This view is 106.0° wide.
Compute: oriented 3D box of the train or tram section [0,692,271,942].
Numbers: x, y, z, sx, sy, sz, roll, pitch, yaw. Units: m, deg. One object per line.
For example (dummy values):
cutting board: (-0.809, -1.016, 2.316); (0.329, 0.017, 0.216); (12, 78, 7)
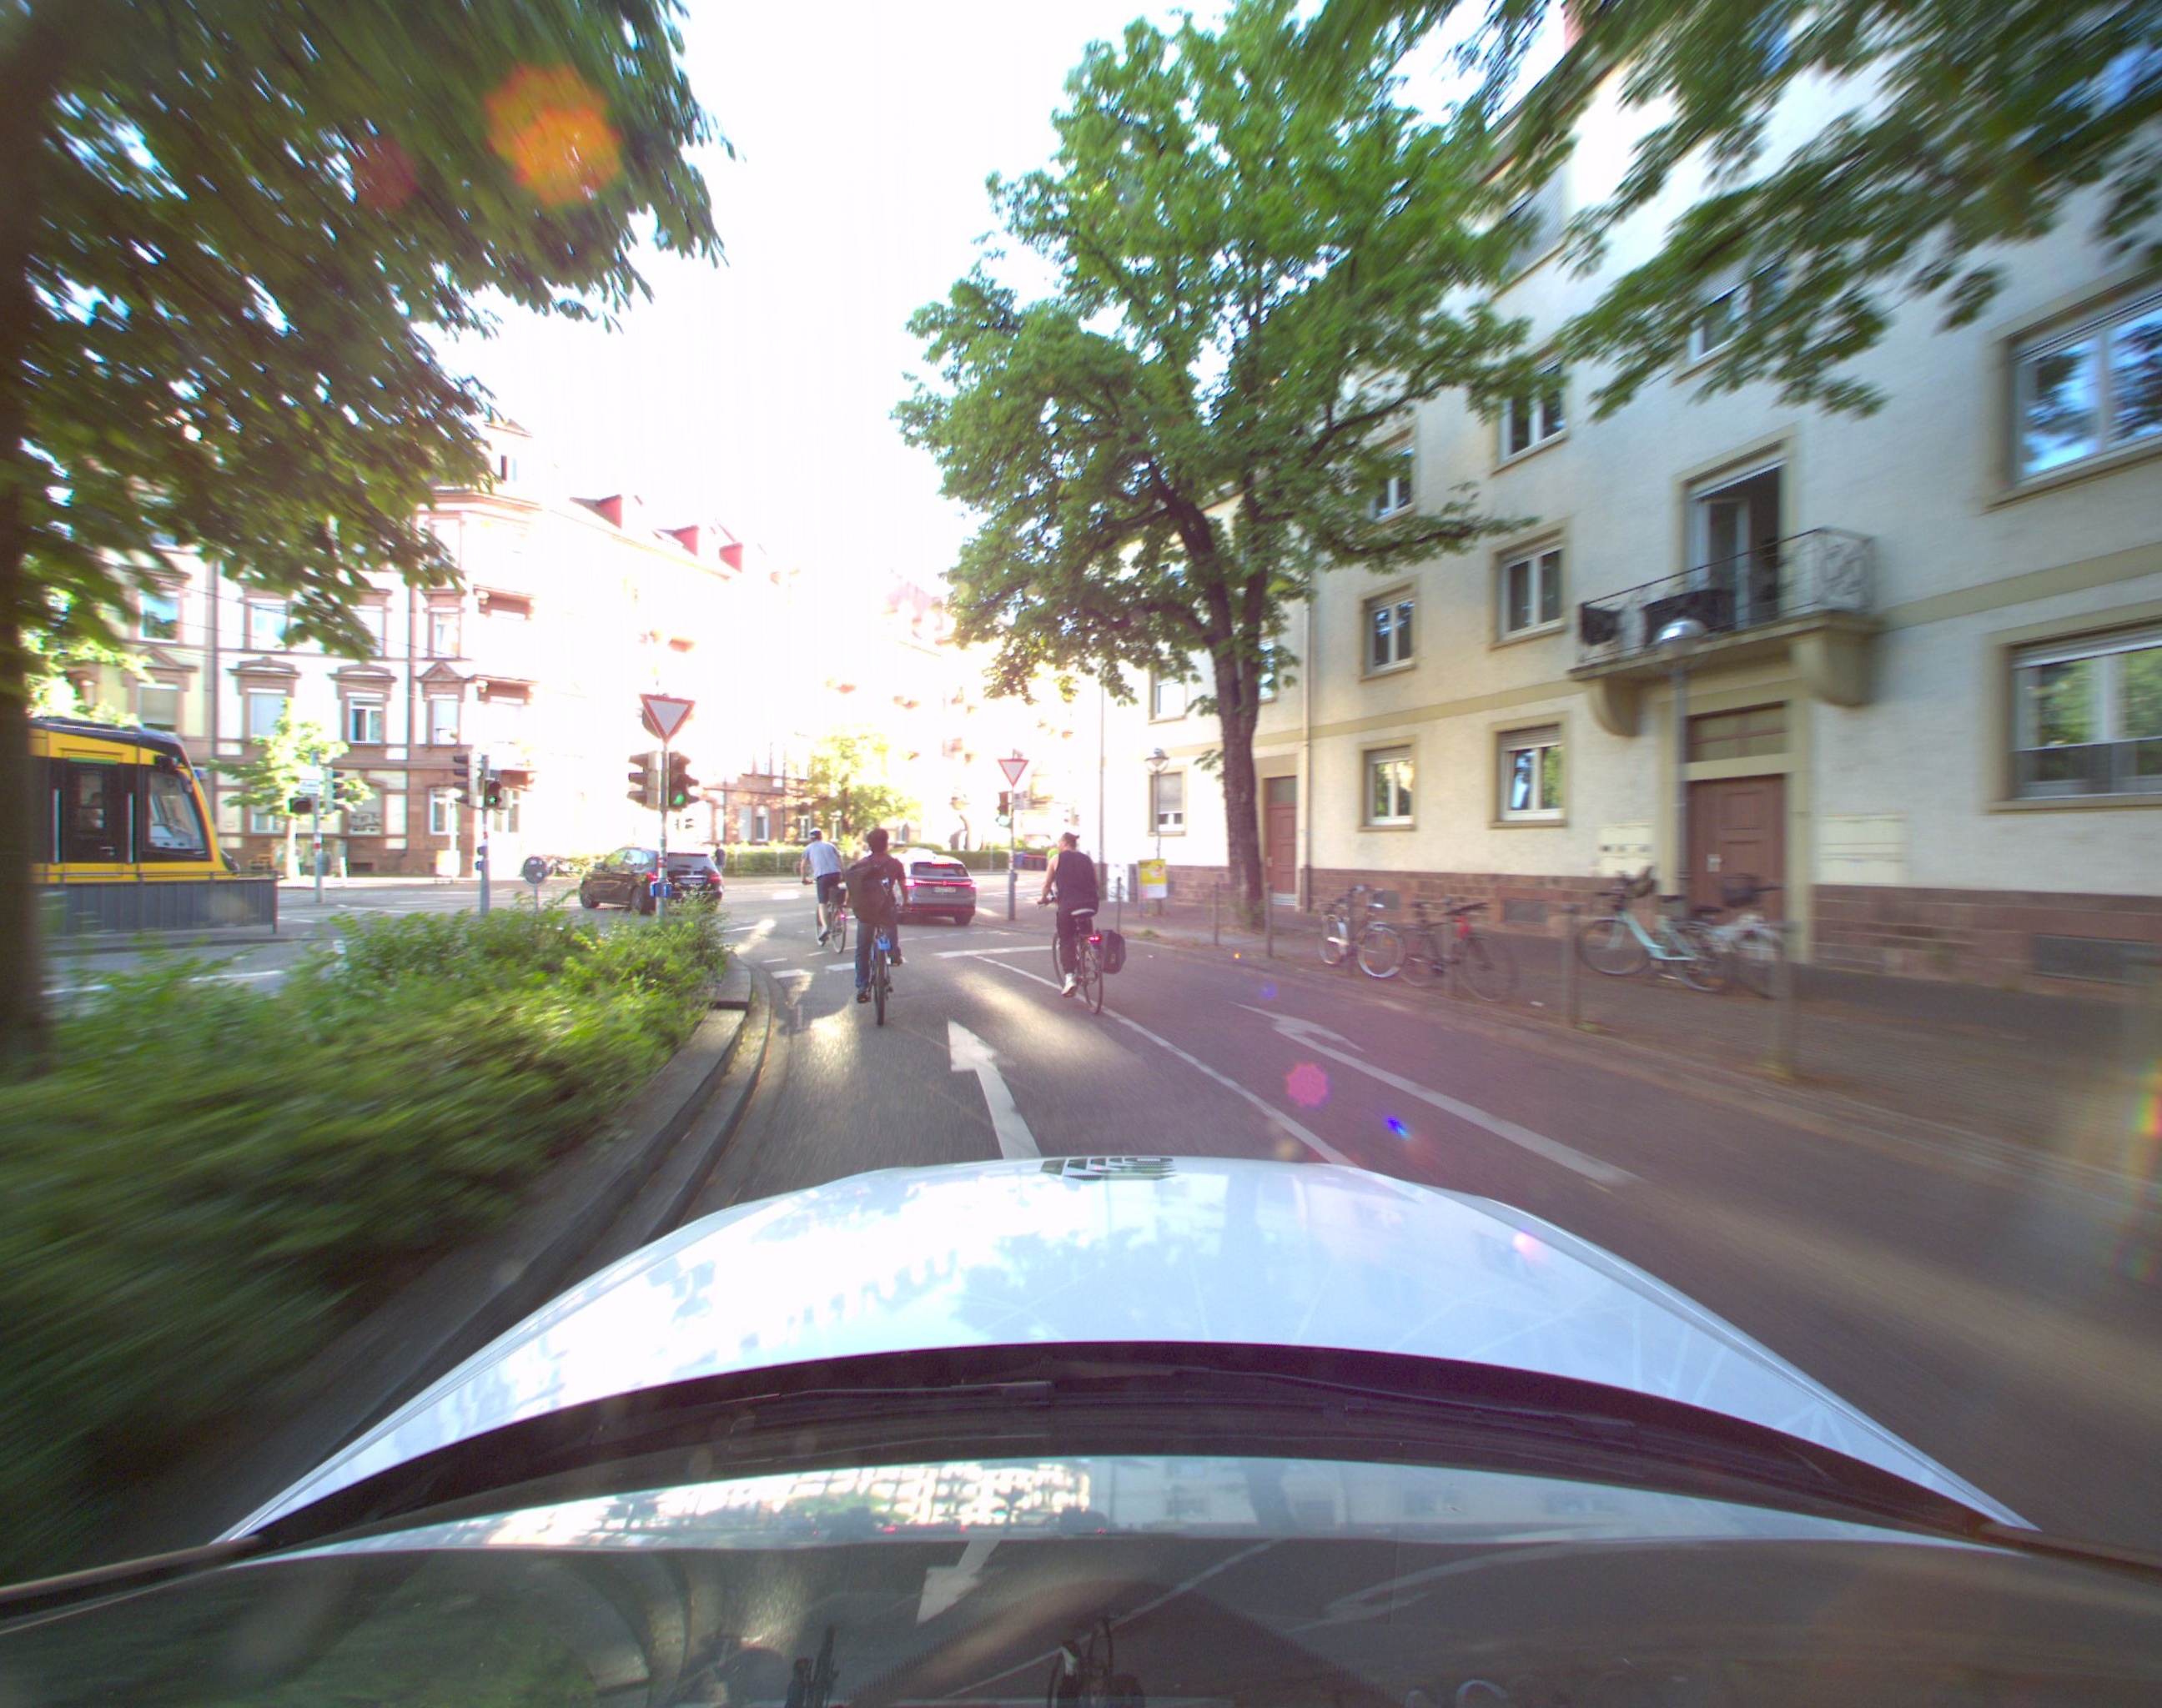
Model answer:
train or tram section: (-18.334, -0.567, 9.774); (2.765, 3.619, 11.871); (1, 0, 28)

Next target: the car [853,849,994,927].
car: (-3.859, 0.728, 19.307); (1.981, 1.585, 4.434); (3, -1, -28)

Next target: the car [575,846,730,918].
car: (-10.243, 0.623, 19.376); (3.810, 1.542, 1.807); (-1, 0, 37)

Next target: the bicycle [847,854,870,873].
bicycle: (-12.355, 0.536, 45.230); (0.437, 1.038, 1.241); (1, 1, 33)

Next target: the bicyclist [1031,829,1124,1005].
bicyclist: (-0.054, 0.592, 8.284); (0.688, 1.656, 0.984); (-1, 0, -16)

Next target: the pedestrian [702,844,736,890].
pedestrian: (-13.468, 0.472, 30.290); (0.900, 1.635, 0.725); (2, 1, -4)

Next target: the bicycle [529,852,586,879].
bicycle: (-22.414, 0.483, 34.897); (1.971, 1.107, 0.439); (2, -1, -29)

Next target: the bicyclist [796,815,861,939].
bicyclist: (-4.075, 0.355, 13.131); (0.799, 1.913, 0.936); (1, 0, -29)

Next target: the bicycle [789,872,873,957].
bicycle: (-4.046, 0.912, 13.066); (0.815, 1.185, 2.205); (1, 0, -30)

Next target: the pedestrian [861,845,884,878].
pedestrian: (-11.081, 0.392, 43.323); (0.703, 1.664, 0.903); (4, 2, 45)

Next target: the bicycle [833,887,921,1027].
bicycle: (-1.952, 0.918, 7.961); (0.717, 1.107, 1.958); (1, 0, -12)

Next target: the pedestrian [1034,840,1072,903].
pedestrian: (-0.795, 0.490, 23.076); (0.648, 1.727, 0.879); (-3, 1, -36)

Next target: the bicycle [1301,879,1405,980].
bicycle: (3.350, 0.895, 10.184); (0.480, 1.063, 1.630); (-2, 1, -11)

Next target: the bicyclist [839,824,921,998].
bicyclist: (-1.937, 0.515, 7.919); (0.707, 1.573, 0.953); (1, 0, -13)

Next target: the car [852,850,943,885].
car: (-8.998, 0.638, 40.279); (1.924, 1.650, 4.437); (0, 0, 28)

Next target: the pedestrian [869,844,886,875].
pedestrian: (-11.168, 0.301, 44.701); (0.655, 1.715, 0.640); (0, 0, 41)

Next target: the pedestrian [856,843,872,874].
pedestrian: (-11.946, 0.255, 44.818); (0.515, 1.715, 0.640); (0, 0, 41)

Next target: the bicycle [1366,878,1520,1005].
bicycle: (3.741, 0.854, 8.579); (0.526, 1.107, 1.733); (-2, 1, -12)

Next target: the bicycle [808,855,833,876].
bicycle: (-13.746, 0.605, 43.005); (0.437, 1.107, 1.241); (1, 1, 34)

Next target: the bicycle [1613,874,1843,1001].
bicycle: (6.597, 0.789, 8.465); (0.667, 1.107, 1.961); (1, 0, -8)

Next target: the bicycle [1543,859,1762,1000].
bicycle: (5.900, 0.704, 8.579); (0.717, 1.277, 1.960); (-1, 0, -9)

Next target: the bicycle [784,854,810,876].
bicycle: (-14.563, 0.565, 41.826); (0.437, 1.107, 1.241); (1, 1, 34)
